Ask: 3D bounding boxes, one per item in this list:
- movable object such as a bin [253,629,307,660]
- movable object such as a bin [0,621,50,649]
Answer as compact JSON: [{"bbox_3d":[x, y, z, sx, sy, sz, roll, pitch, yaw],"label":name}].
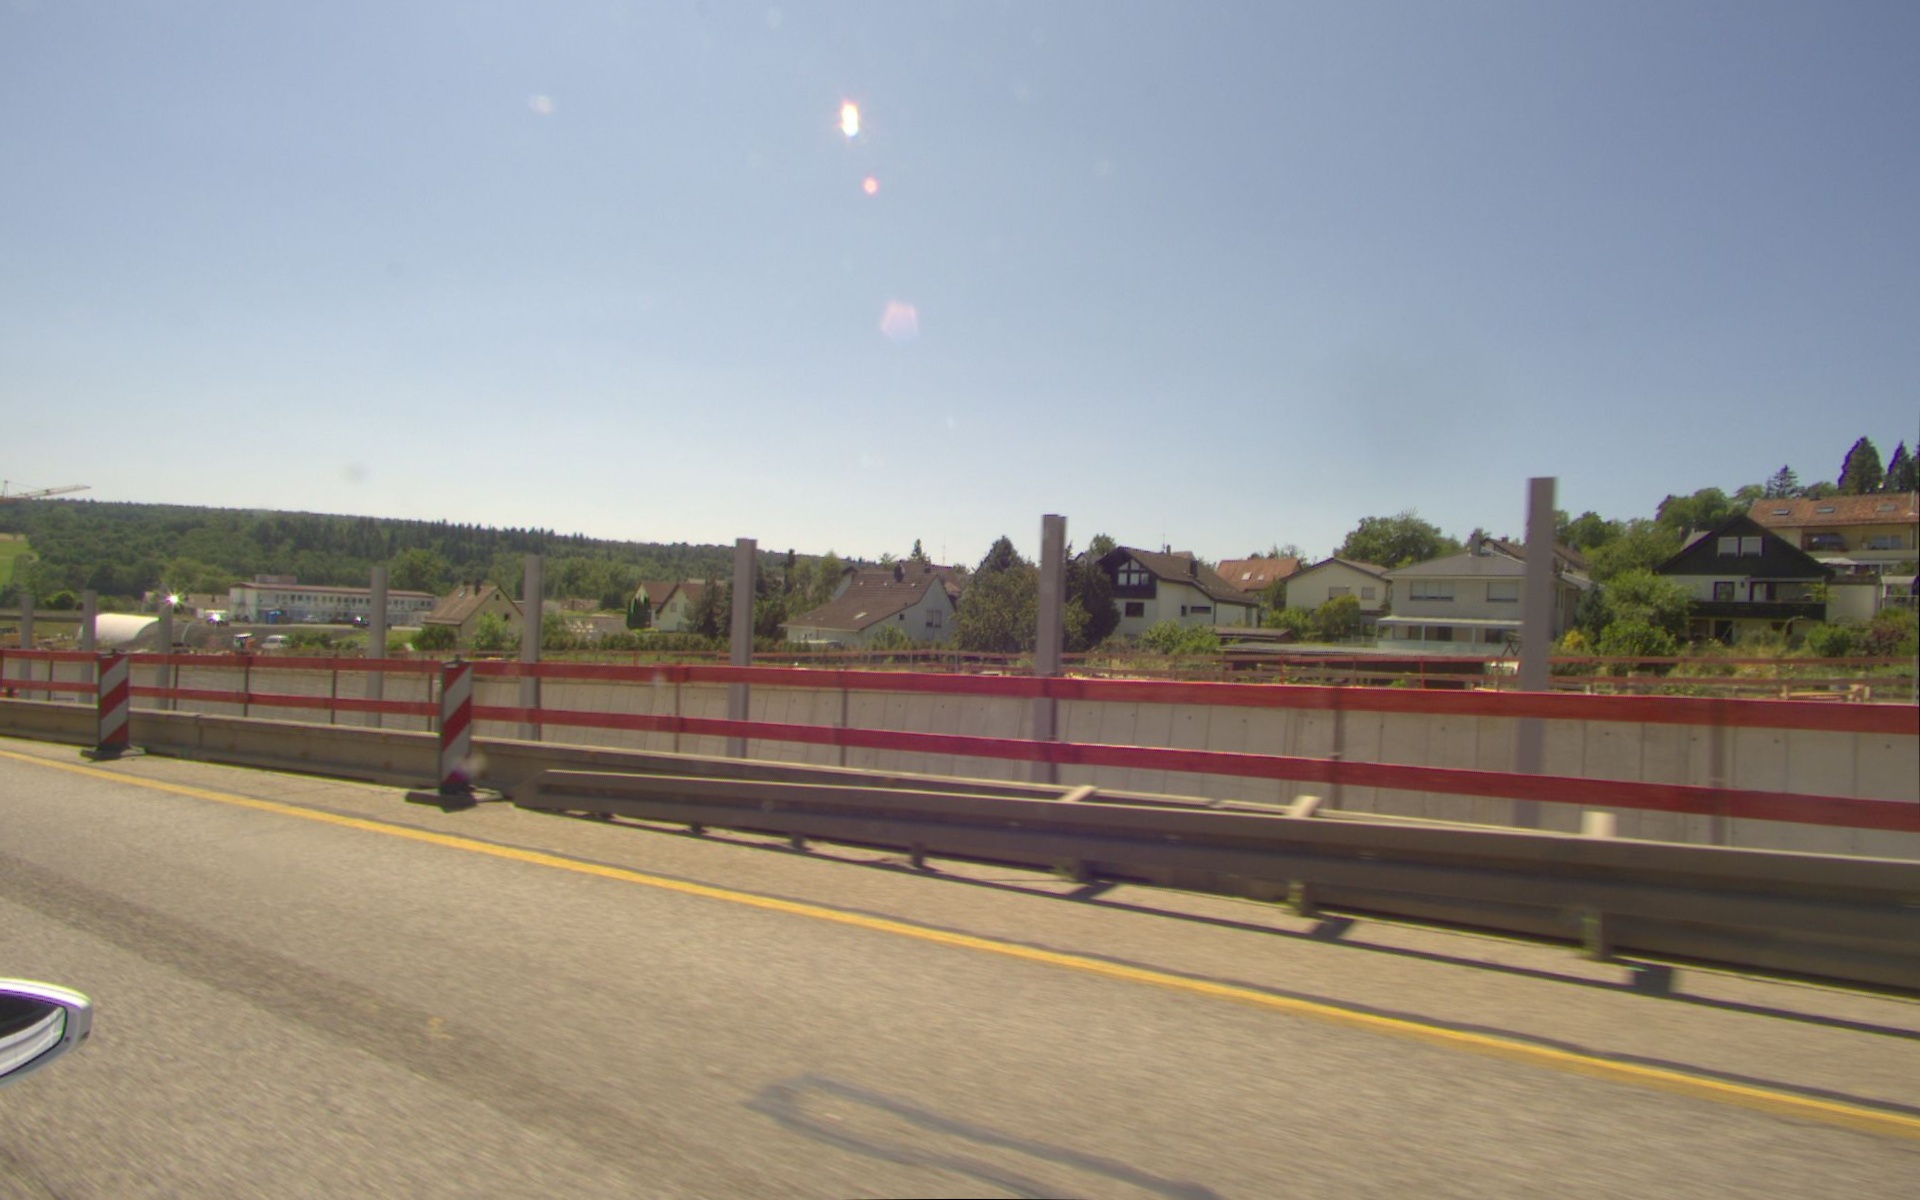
[{"bbox_3d":[-52.109,3.393,76.671,4.093,2.267,1.990,-1,-2,33],"label":"movable object such as a bin"},{"bbox_3d":[-103.298,3.844,109.795,9.346,2.946,2.882,-1,-2,33],"label":"movable object such as a bin"}]
